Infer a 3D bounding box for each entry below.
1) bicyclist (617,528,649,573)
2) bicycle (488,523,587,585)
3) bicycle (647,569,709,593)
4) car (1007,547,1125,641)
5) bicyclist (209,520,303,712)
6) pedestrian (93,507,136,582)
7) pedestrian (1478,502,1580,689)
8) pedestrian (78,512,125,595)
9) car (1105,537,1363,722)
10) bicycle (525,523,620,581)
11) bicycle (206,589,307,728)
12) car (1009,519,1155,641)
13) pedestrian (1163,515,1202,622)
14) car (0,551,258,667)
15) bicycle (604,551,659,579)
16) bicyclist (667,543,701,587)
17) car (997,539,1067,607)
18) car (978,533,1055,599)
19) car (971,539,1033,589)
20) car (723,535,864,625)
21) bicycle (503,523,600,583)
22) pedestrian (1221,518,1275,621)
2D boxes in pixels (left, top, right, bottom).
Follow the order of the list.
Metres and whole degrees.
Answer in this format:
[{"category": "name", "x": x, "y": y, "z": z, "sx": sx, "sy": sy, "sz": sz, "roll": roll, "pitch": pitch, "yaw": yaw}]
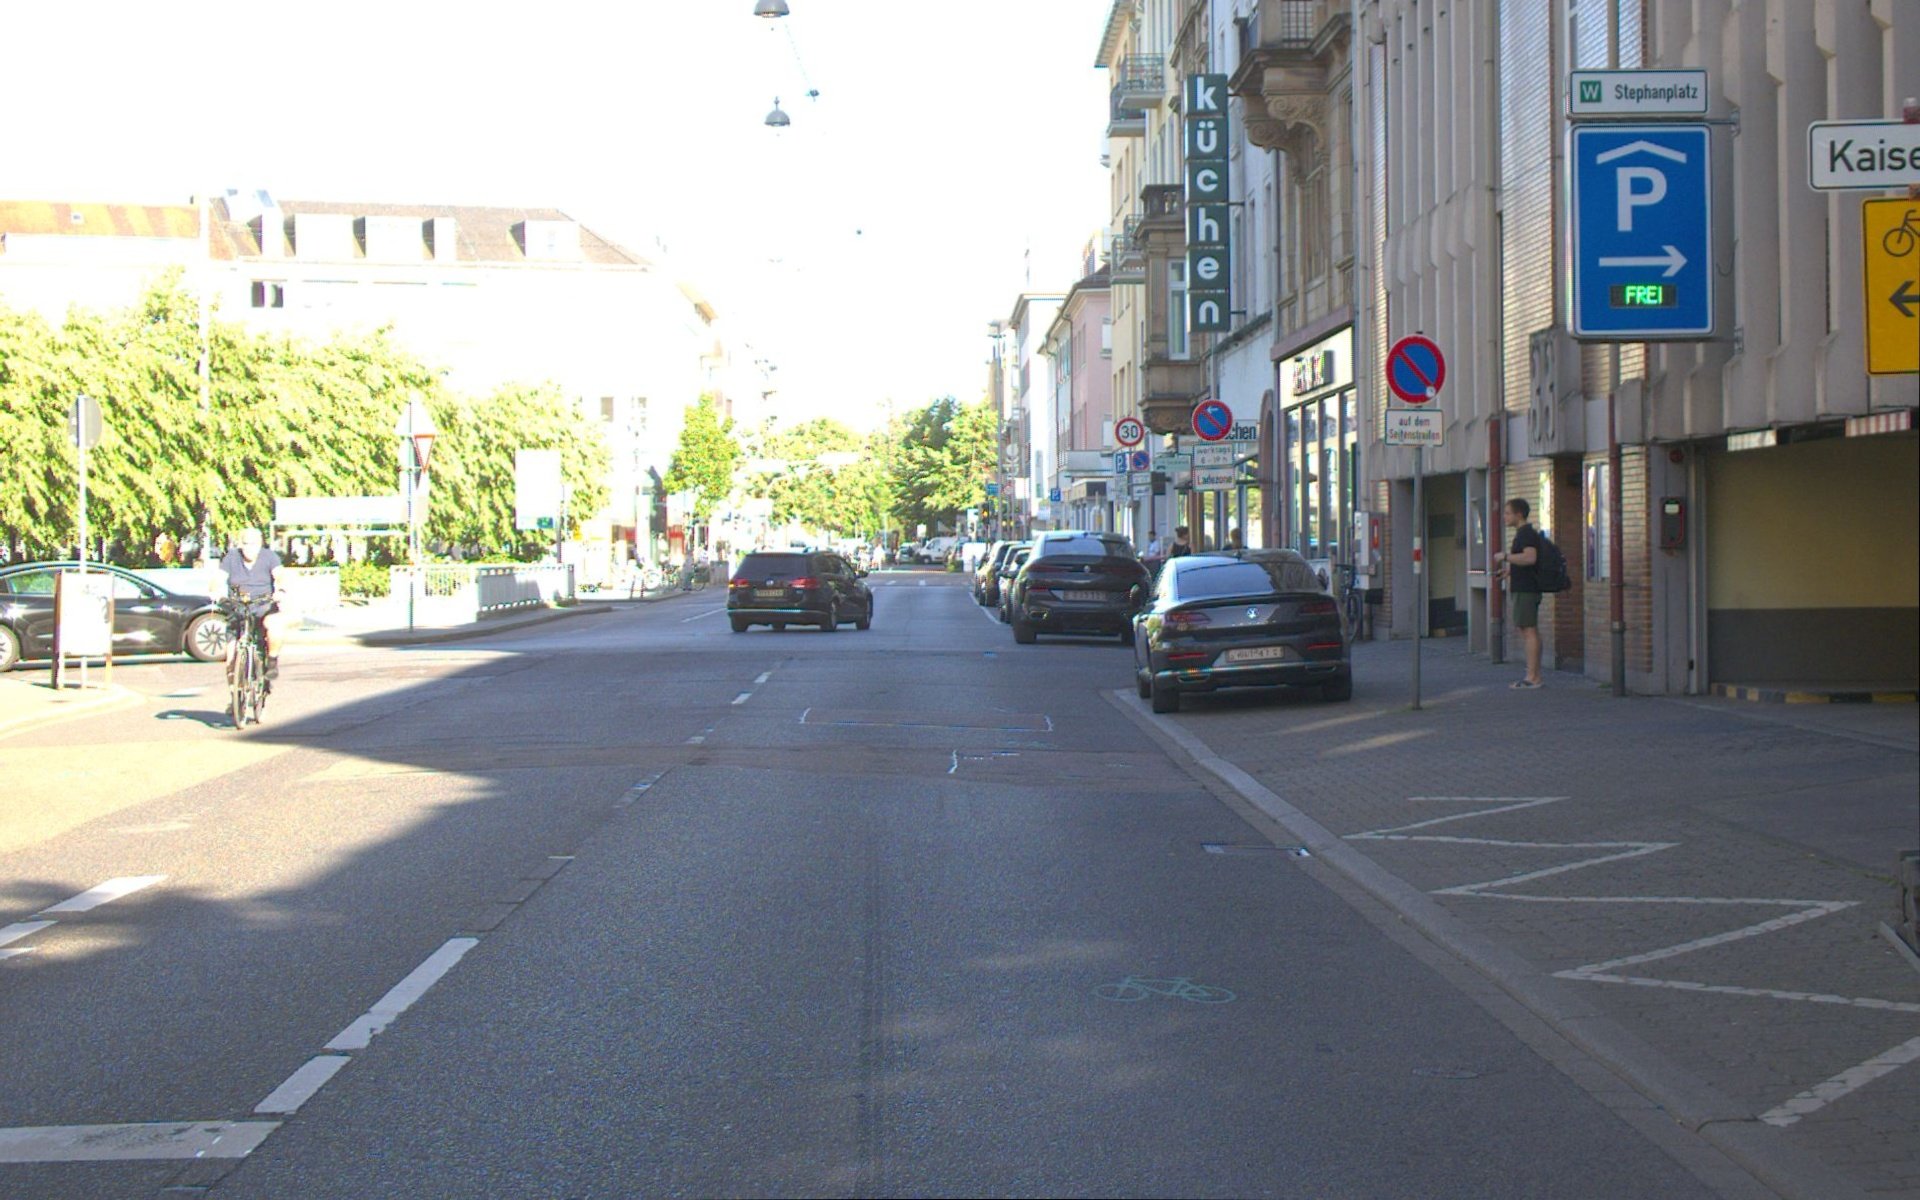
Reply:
[{"category": "bicyclist", "x": -12.167, "y": -1.840, "z": 127.894, "sx": 1.146, "sy": 1.680, "sz": 0.819, "roll": 0, "pitch": 1, "yaw": -4}, {"category": "bicycle", "x": -13.997, "y": -1.532, "z": 113.820, "sx": 3.122, "sy": 2.007, "sz": 0.908, "roll": 0, "pitch": 1, "yaw": 9}, {"category": "bicycle", "x": -10.671, "y": -0.710, "z": 130.139, "sx": 2.244, "sy": 0.880, "sz": 0.923, "roll": 0, "pitch": 1, "yaw": 3}, {"category": "car", "x": 1.776, "y": -0.128, "z": 58.933, "sx": 1.839, "sy": 1.482, "sz": 4.184, "roll": 1, "pitch": 1, "yaw": 0}, {"category": "bicyclist", "x": -6.162, "y": 0.127, "z": 30.134, "sx": 0.696, "sy": 1.647, "sz": 1.036, "roll": -1, "pitch": 1, "yaw": -7}, {"category": "pedestrian", "x": -23.703, "y": -1.555, "z": 96.375, "sx": 0.733, "sy": 2.101, "sz": 0.966, "roll": 0, "pitch": 1, "yaw": 22}, {"category": "pedestrian", "x": 5.132, "y": -0.051, "z": 31.061, "sx": 0.691, "sy": 1.630, "sz": 0.889, "roll": -3, "pitch": 1, "yaw": -1}, {"category": "pedestrian", "x": -21.861, "y": -1.194, "z": 87.524, "sx": 0.733, "sy": 2.101, "sz": 0.966, "roll": 0, "pitch": 1, "yaw": 22}, {"category": "car", "x": 2.499, "y": 0.210, "z": 32.518, "sx": 1.917, "sy": 1.473, "sz": 4.965, "roll": -4, "pitch": 1, "yaw": 0}, {"category": "bicycle", "x": -13.399, "y": -1.671, "z": 118.933, "sx": 3.122, "sy": 2.007, "sz": 0.908, "roll": 0, "pitch": 1, "yaw": 9}, {"category": "bicycle", "x": -6.150, "y": 0.491, "z": 30.127, "sx": 0.705, "sy": 1.142, "sz": 1.968, "roll": -1, "pitch": 1, "yaw": -7}, {"category": "car", "x": 1.788, "y": -0.344, "z": 51.980, "sx": 1.973, "sy": 1.719, "sz": 4.824, "roll": 1, "pitch": 1, "yaw": 0}, {"category": "pedestrian", "x": 3.692, "y": -0.528, "z": 57.053, "sx": 0.620, "sy": 1.760, "sz": 0.518, "roll": 0, "pitch": 1, "yaw": 2}, {"category": "car", "x": -11.918, "y": 0.110, "z": 46.723, "sx": 4.479, "sy": 1.475, "sz": 2.002, "roll": -1, "pitch": 1, "yaw": -16}, {"category": "bicycle", "x": -12.221, "y": -1.308, "z": 127.895, "sx": 2.011, "sy": 1.018, "sz": 0.762, "roll": 0, "pitch": 1, "yaw": -4}, {"category": "bicyclist", "x": -10.444, "y": -1.331, "z": 130.119, "sx": 1.146, "sy": 1.680, "sz": 0.915, "roll": 0, "pitch": 1, "yaw": 3}, {"category": "car", "x": 1.694, "y": -0.656, "z": 82.119, "sx": 1.613, "sy": 1.541, "sz": 2.855, "roll": 1, "pitch": 1, "yaw": 1}, {"category": "car", "x": 1.426, "y": -0.854, "z": 88.184, "sx": 1.716, "sy": 1.630, "sz": 4.085, "roll": 1, "pitch": 0, "yaw": -2}, {"category": "car", "x": 1.259, "y": -1.080, "z": 105.427, "sx": 1.792, "sy": 1.455, "sz": 3.868, "roll": 1, "pitch": 0, "yaw": 0}, {"category": "car", "x": -2.814, "y": -0.375, "z": 59.073, "sx": 1.935, "sy": 1.482, "sz": 4.271, "roll": 0, "pitch": 1, "yaw": 4}, {"category": "bicycle", "x": -13.757, "y": -1.587, "z": 115.767, "sx": 3.122, "sy": 2.007, "sz": 0.908, "roll": 0, "pitch": 1, "yaw": 9}, {"category": "pedestrian", "x": 4.758, "y": -0.502, "z": 56.859, "sx": 0.801, "sy": 1.669, "sz": 0.589, "roll": -2, "pitch": 1, "yaw": 2}]
